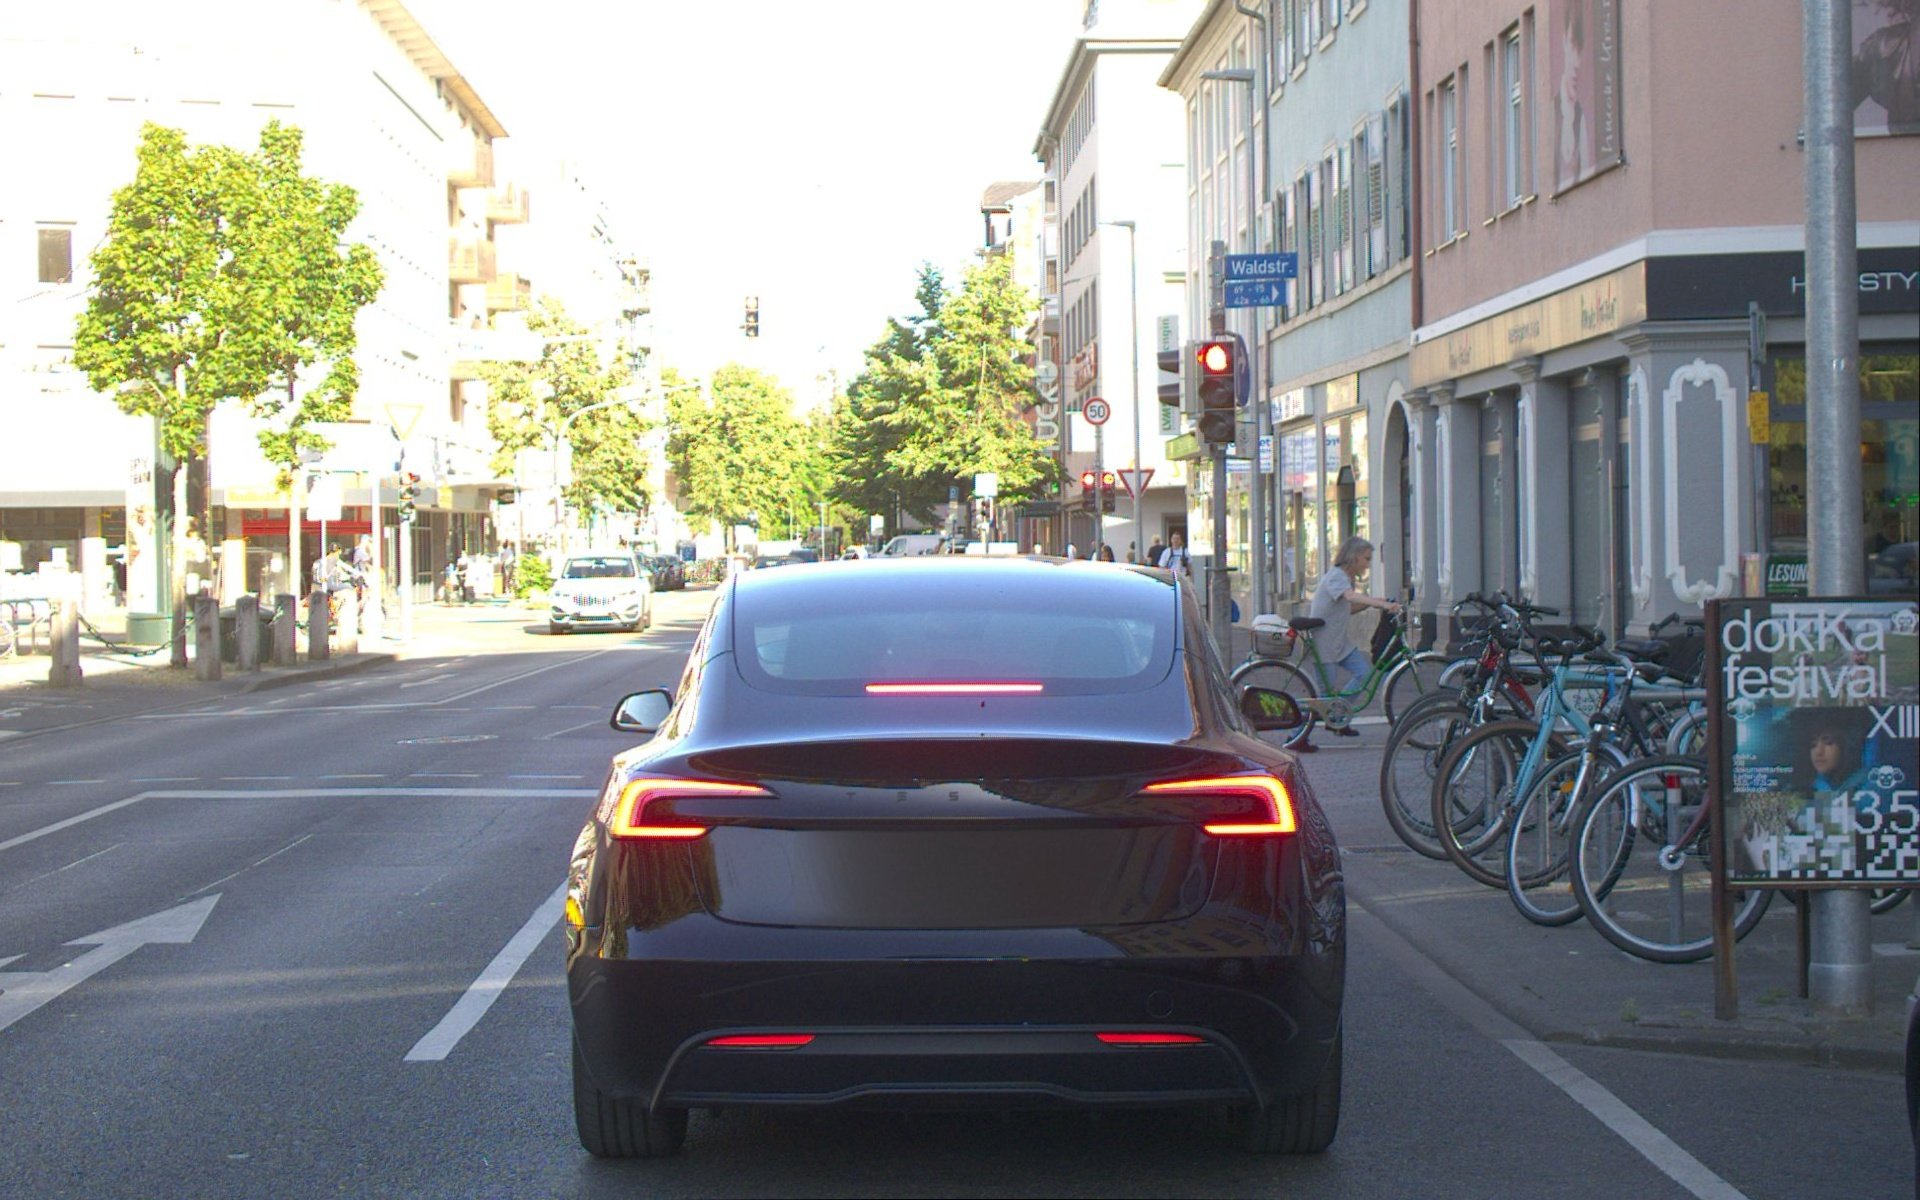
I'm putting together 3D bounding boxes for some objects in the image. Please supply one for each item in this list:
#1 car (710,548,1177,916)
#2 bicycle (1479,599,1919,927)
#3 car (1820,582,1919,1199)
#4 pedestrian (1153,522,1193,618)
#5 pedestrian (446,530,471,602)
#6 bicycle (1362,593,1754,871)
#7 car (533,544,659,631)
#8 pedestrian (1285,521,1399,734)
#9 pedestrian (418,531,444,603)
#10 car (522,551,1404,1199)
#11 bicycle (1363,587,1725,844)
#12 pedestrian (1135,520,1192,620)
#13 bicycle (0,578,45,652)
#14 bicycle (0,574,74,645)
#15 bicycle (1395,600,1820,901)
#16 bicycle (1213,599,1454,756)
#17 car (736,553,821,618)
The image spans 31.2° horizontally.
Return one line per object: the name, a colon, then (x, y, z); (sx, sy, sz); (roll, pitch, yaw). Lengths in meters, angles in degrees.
car: (-0.057, 0.493, 15.504); (1.850, 1.450, 3.786); (0, 1, 0)
bicycle: (2.832, 0.605, 13.011); (1.627, 1.156, 0.433); (-2, 1, -1)
car: (2.605, 0.689, 5.249); (1.622, 1.389, 3.886); (0, 1, 0)
pedestrian: (3.926, -0.556, 63.463); (0.704, 1.777, 0.533); (0, 1, -1)
pedestrian: (-13.961, -0.941, 95.714); (0.626, 2.007, 0.575); (0, 1, -1)
bicycle: (2.651, 0.577, 15.294); (1.627, 1.156, 0.433); (-2, 1, -1)
car: (-7.115, -0.276, 67.552); (1.993, 1.535, 4.000); (-4, 1, -1)
pedestrian: (2.617, 0.181, 23.591); (0.743, 1.435, 0.582); (0, 0, 4)
pedestrian: (-14.719, -0.927, 95.714); (0.626, 2.007, 0.707); (0, 1, -1)
car: (0.014, 0.602, 9.112); (1.850, 1.450, 3.786); (0, 1, 0)
bicycle: (2.788, 0.546, 16.488); (1.628, 1.156, 0.433); (-2, 1, 1)
pedestrian: (3.758, -0.553, 63.447); (0.999, 1.844, 0.615); (0, 1, -1)
bicycle: (-14.908, 0.223, 51.721); (2.082, 1.100, 0.806); (0, 1, -1)
bicycle: (-15.045, 0.150, 53.914); (2.082, 1.100, 0.806); (0, 1, -1)
bicycle: (2.654, 0.610, 14.160); (1.627, 1.156, 0.433); (-2, 1, -1)
bicycle: (2.562, 0.524, 23.604); (1.616, 1.041, 0.591); (1, 1, 6)
car: (-4.975, -0.424, 93.811); (2.049, 1.721, 4.655); (0, 1, -7)
